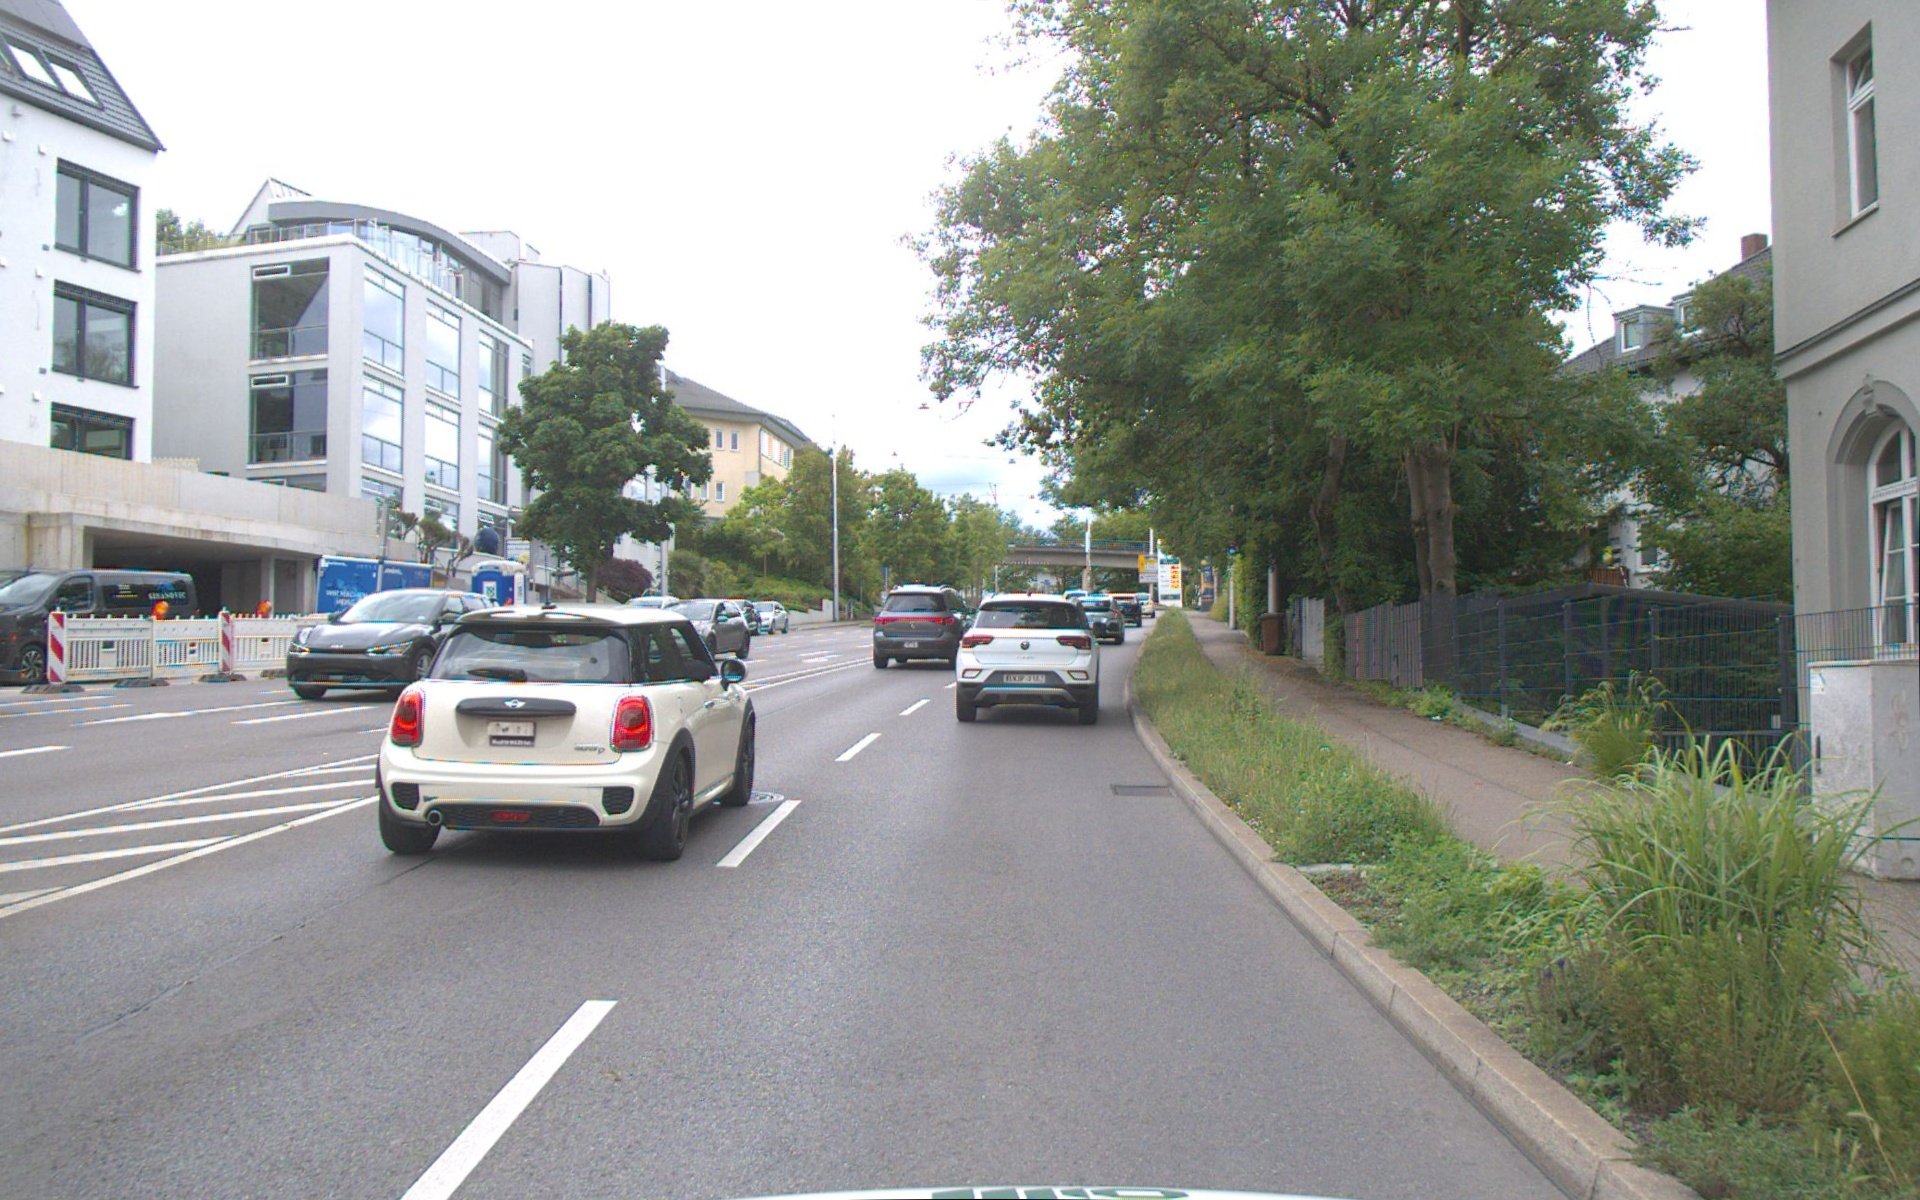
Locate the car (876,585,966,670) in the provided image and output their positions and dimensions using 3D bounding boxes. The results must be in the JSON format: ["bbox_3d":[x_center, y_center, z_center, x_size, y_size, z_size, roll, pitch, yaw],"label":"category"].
[{"bbox_3d":[-0.884,0.526,35.248,1.776,1.681,4.633,0,0,-3],"label":"car"}]

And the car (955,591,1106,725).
[{"bbox_3d":[0.922,0.679,21.459,1.774,1.566,3.691,0,0,3],"label":"car"}]

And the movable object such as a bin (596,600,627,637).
[{"bbox_3d":[-9.926,0.526,47.155,0.631,1.033,0.660,1,0,15],"label":"movable object such as a bin"}]

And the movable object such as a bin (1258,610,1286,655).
[{"bbox_3d":[6.930,0.718,36.731,0.543,0.964,0.568,1,0,4],"label":"movable object such as a bin"}]

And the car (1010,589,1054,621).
[{"bbox_3d":[3.836,0.259,87.504,1.733,1.624,5.188,0,0,9],"label":"car"}]

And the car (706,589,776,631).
[{"bbox_3d":[-8.892,0.393,67.494,1.733,1.662,3.919,0,0,10],"label":"car"}]

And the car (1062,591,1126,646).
[{"bbox_3d":[4.183,0.565,51.972,1.834,1.527,4.557,3,0,4],"label":"car"}]

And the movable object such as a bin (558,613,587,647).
[{"bbox_3d":[-10.462,0.819,44.683,0.649,0.895,0.642,1,0,-24],"label":"movable object such as a bin"}]

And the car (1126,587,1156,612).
[{"bbox_3d":[11.171,-0.050,102.038,1.818,1.526,4.058,0,0,6],"label":"car"}]

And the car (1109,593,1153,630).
[{"bbox_3d":[7.887,0.524,76.142,1.833,1.527,4.558,3,0,7],"label":"car"}]

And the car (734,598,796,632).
[{"bbox_3d":[-8.564,0.626,72.979,1.733,1.431,4.146,0,0,8],"label":"car"}]

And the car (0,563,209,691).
[{"bbox_3d":[-15.472,0.401,28.522,1.940,2.001,5.223,0,0,11],"label":"car"}]

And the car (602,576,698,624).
[{"bbox_3d":[-10.334,-0.021,55.395,1.733,1.525,4.308,0,0,10],"label":"car"}]

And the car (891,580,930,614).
[{"bbox_3d":[-3.464,-0.238,116.354,2.025,2.346,5.469,0,0,6],"label":"car"}]

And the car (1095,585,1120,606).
[{"bbox_3d":[11.009,-0.328,123.243,1.818,1.526,4.059,0,0,6],"label":"car"}]

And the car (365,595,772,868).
[{"bbox_3d":[-2.279,0.694,10.549,1.594,1.417,3.567,0,0,3],"label":"car"}]

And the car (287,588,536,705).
[{"bbox_3d":[-7.964,0.608,24.492,1.659,1.522,4.490,1,0,8],"label":"car"}]

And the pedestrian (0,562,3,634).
[{"bbox_3d":[-17.275,0.150,29.007,0.670,1.669,0.662,2,0,-43],"label":"pedestrian"}]

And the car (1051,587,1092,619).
[{"bbox_3d":[5.983,0.138,88.134,1.818,1.681,4.640,0,0,8],"label":"car"}]

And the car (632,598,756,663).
[{"bbox_3d":[-6.290,0.689,39.519,1.804,1.417,4.287,0,0,7],"label":"car"}]

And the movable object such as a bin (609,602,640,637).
[{"bbox_3d":[-9.689,0.556,47.787,0.631,1.007,0.660,1,0,15],"label":"movable object such as a bin"}]

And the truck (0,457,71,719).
[{"bbox_3d":[-12.883,-0.147,16.001,2.898,3.023,8.985,1,0,6],"label":"truck"}]
